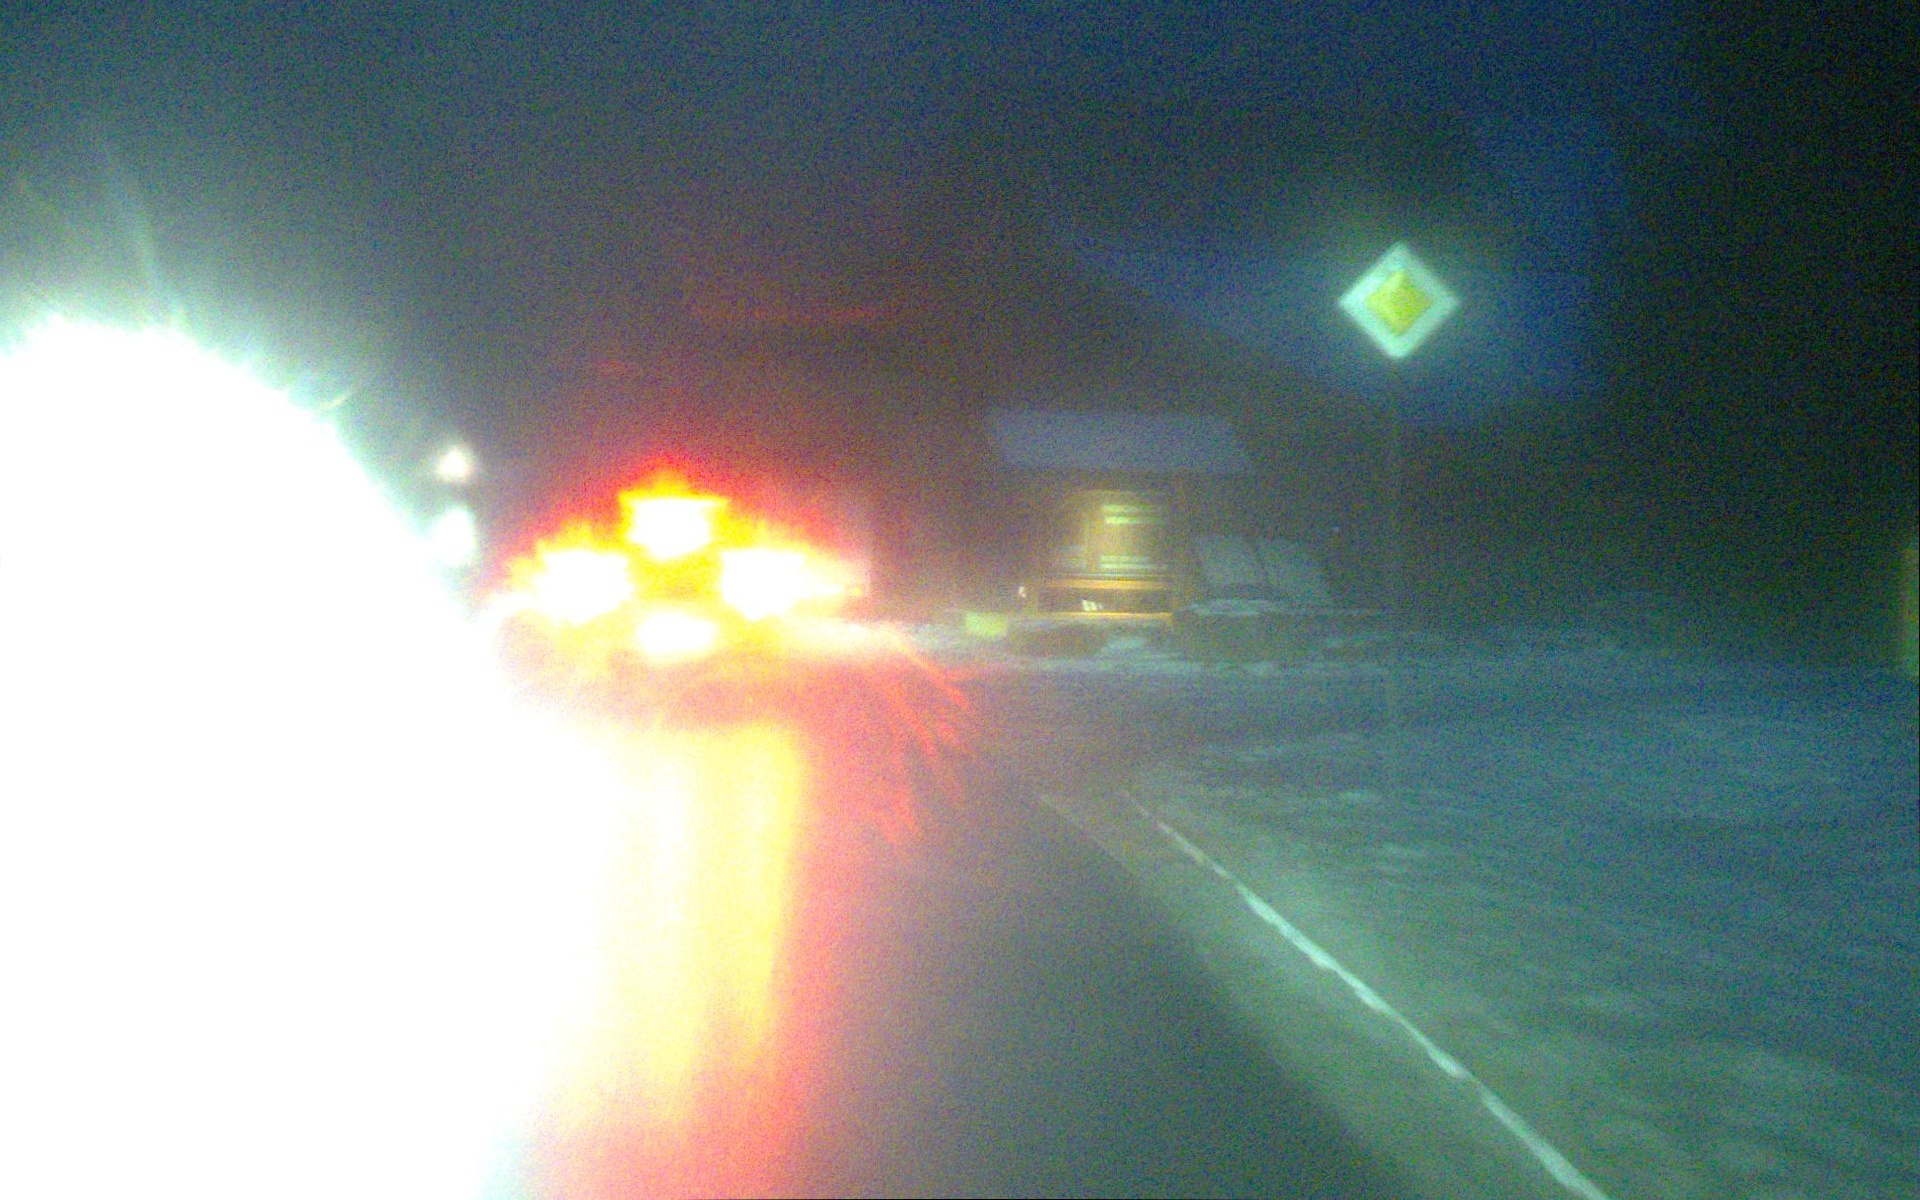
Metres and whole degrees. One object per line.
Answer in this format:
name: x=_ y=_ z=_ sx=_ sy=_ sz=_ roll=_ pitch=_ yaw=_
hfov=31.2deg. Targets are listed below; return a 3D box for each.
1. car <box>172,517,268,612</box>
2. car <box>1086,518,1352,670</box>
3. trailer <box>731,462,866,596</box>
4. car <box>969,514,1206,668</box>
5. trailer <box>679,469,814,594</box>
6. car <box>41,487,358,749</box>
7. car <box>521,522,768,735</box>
car: x=-16.956 y=-0.829 z=78.637 sx=1.918 sy=2.050 sz=4.889 roll=2 pitch=1 yaw=-14
car: x=3.244 y=-0.108 z=43.945 sx=1.877 sy=1.803 sz=4.157 roll=2 pitch=1 yaw=-18
trailer: x=-3.100 y=-1.353 z=65.237 sx=1.605 sy=2.344 sz=4.432 roll=3 pitch=1 yaw=-14
car: x=1.755 y=-0.165 z=48.872 sx=1.877 sy=2.033 sz=4.392 roll=2 pitch=1 yaw=-18
trailer: x=-4.388 y=-1.413 z=69.948 sx=1.629 sy=2.356 sz=4.655 roll=3 pitch=1 yaw=-16
car: x=-5.665 y=0.101 z=26.052 sx=1.976 sy=1.772 sz=4.001 roll=2 pitch=1 yaw=-8
car: x=-2.711 y=0.188 z=28.891 sx=1.801 sy=1.623 sz=3.616 roll=2 pitch=1 yaw=-9
